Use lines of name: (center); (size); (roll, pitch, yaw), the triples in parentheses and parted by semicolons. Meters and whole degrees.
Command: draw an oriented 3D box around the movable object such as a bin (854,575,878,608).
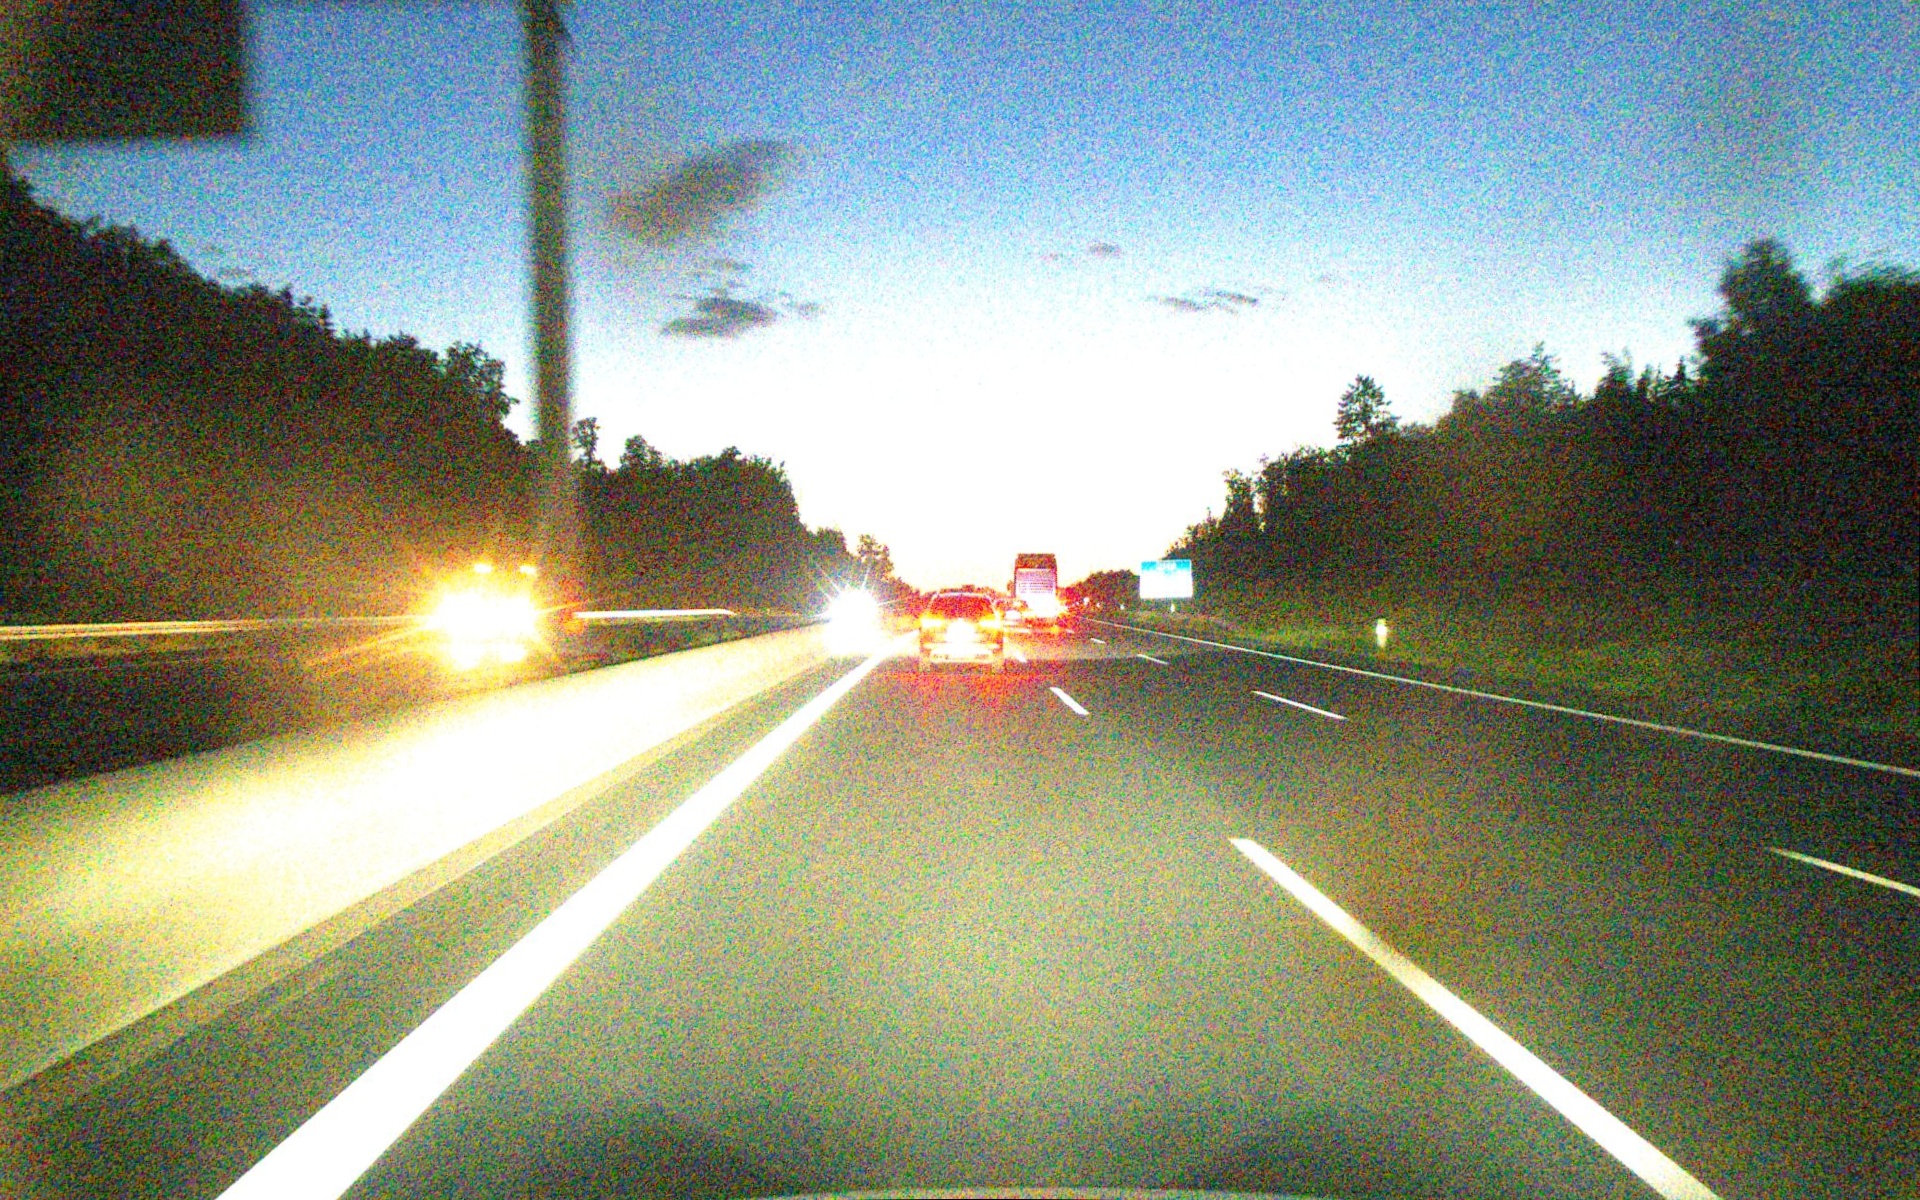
movable object such as a bin: (-11.130, -0.973, 196.922); (2.246, 3.835, 7.687); (0, 0, 1)

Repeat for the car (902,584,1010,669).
car: (-0.149, 0.584, 35.039); (2.064, 1.646, 4.201); (1, -1, -3)

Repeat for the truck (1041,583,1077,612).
truck: (11.110, -0.295, 186.170); (2.497, 3.069, 9.040); (1, 0, -6)

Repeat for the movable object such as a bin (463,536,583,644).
movable object such as a bin: (-14.995, -0.317, 57.258); (2.162, 3.477, 7.436); (0, 0, 0)

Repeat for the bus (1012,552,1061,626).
bus: (4.545, -0.509, 100.871); (2.597, 4.064, 14.703); (-2, -1, 2)

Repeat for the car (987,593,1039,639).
car: (2.156, 0.689, 68.218); (1.872, 1.760, 3.999); (3, -1, -1)

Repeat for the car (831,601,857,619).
car: (-10.038, 0.869, 143.548); (1.893, 1.478, 4.453); (0, 0, 0)
